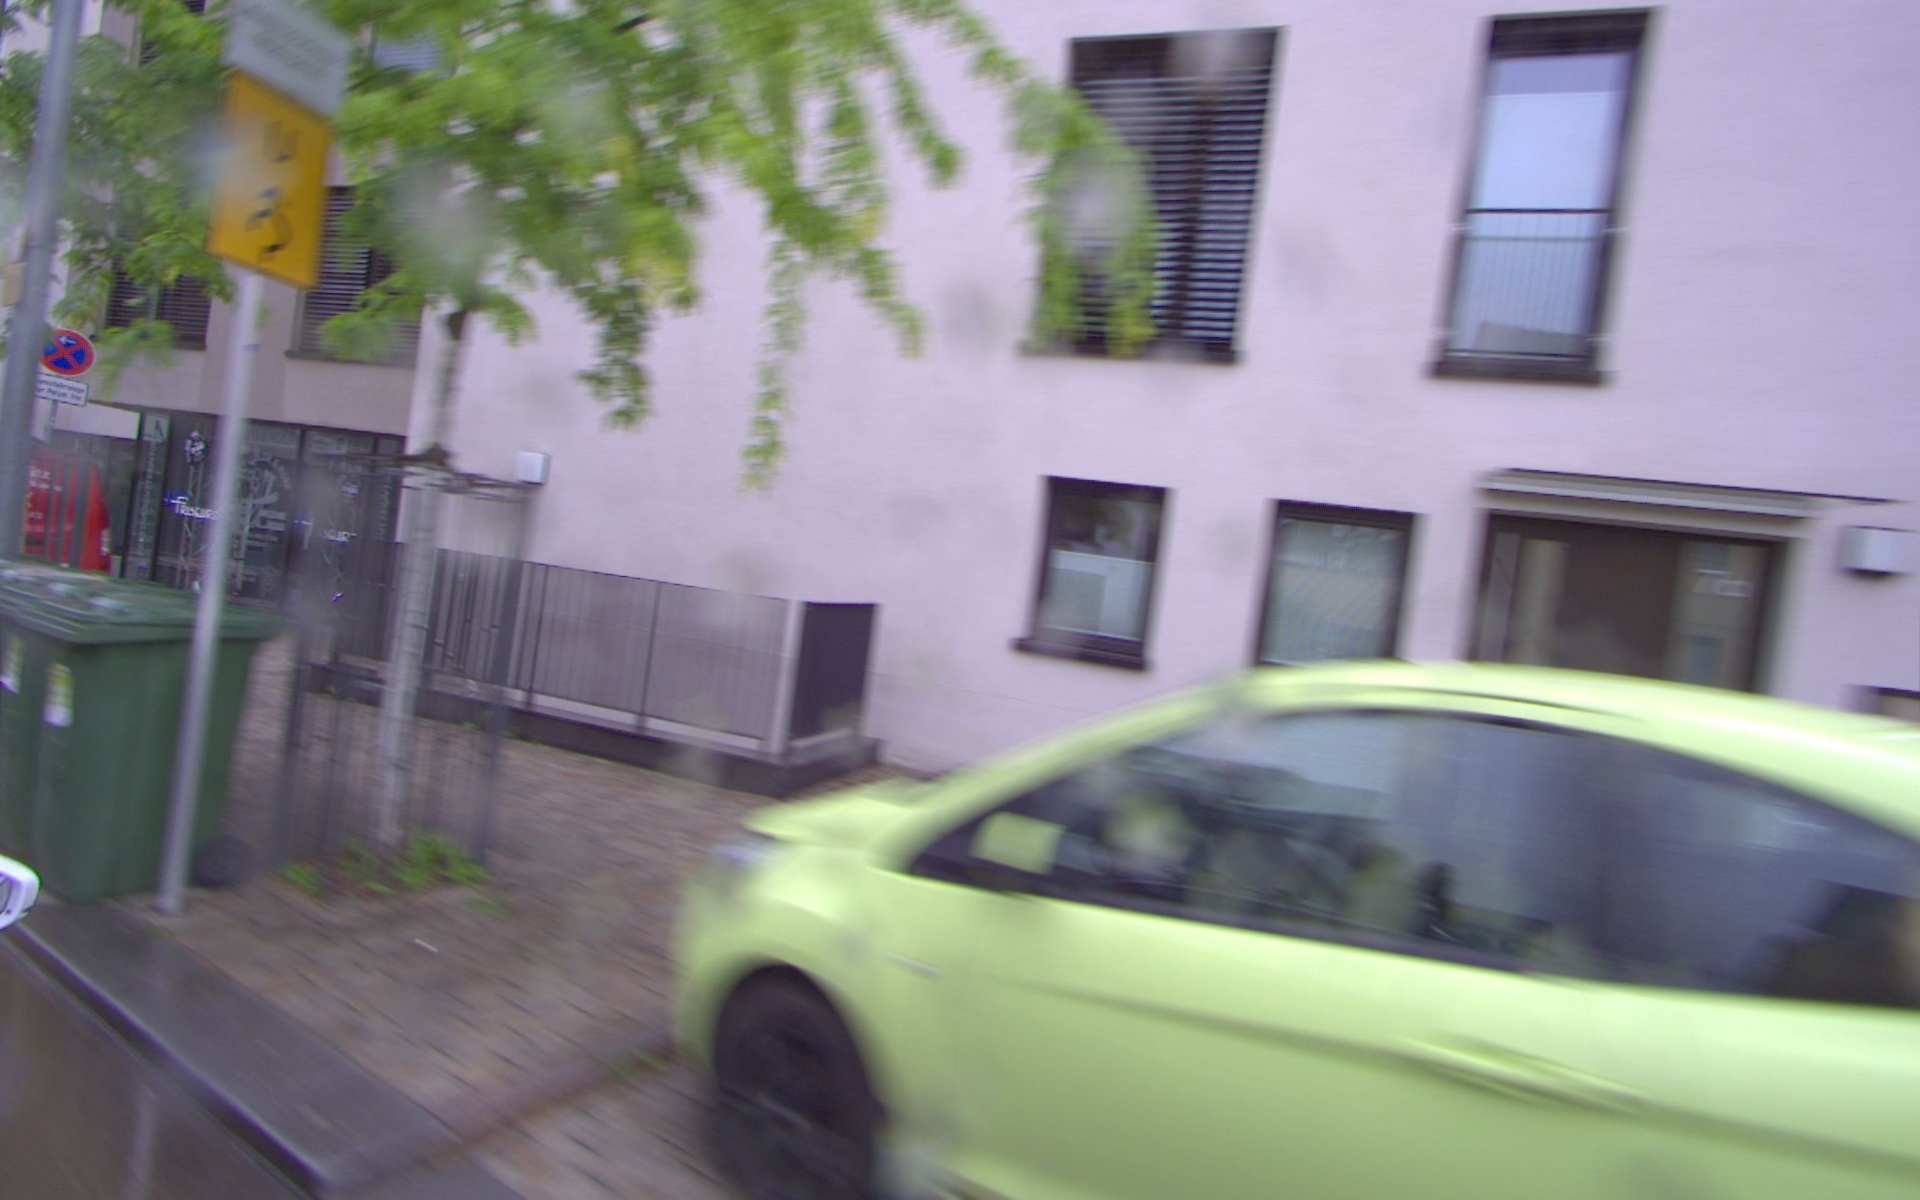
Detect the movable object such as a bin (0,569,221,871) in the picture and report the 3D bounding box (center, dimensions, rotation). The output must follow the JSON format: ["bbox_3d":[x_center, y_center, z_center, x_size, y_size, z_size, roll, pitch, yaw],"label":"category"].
[{"bbox_3d":[-3.656,0.462,4.165,0.591,1.101,0.710,7,1,31],"label":"movable object such as a bin"}]

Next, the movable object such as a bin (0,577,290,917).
[{"bbox_3d":[-3.148,0.517,3.843,0.591,1.101,0.710,7,1,31],"label":"movable object such as a bin"}]

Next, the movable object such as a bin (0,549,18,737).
[{"bbox_3d":[-5.834,0.229,5.577,0.591,1.101,0.709,7,1,34],"label":"movable object such as a bin"}]

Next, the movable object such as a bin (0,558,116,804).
[{"bbox_3d":[-4.605,0.361,4.760,0.591,1.101,0.710,7,1,31],"label":"movable object such as a bin"}]

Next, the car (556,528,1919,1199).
[{"bbox_3d":[0.942,0.787,2.360,3.575,1.544,1.639,6,-1,33],"label":"car"}]

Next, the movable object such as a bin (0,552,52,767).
[{"bbox_3d":[-5.346,0.284,5.246,0.591,1.101,0.709,7,1,34],"label":"movable object such as a bin"}]

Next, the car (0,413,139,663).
[{"bbox_3d":[-9.357,-0.668,9.069,4.533,1.931,1.835,6,1,36],"label":"car"}]

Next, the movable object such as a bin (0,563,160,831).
[{"bbox_3d":[-4.132,0.410,4.462,0.507,1.101,0.703,7,1,31],"label":"movable object such as a bin"}]
